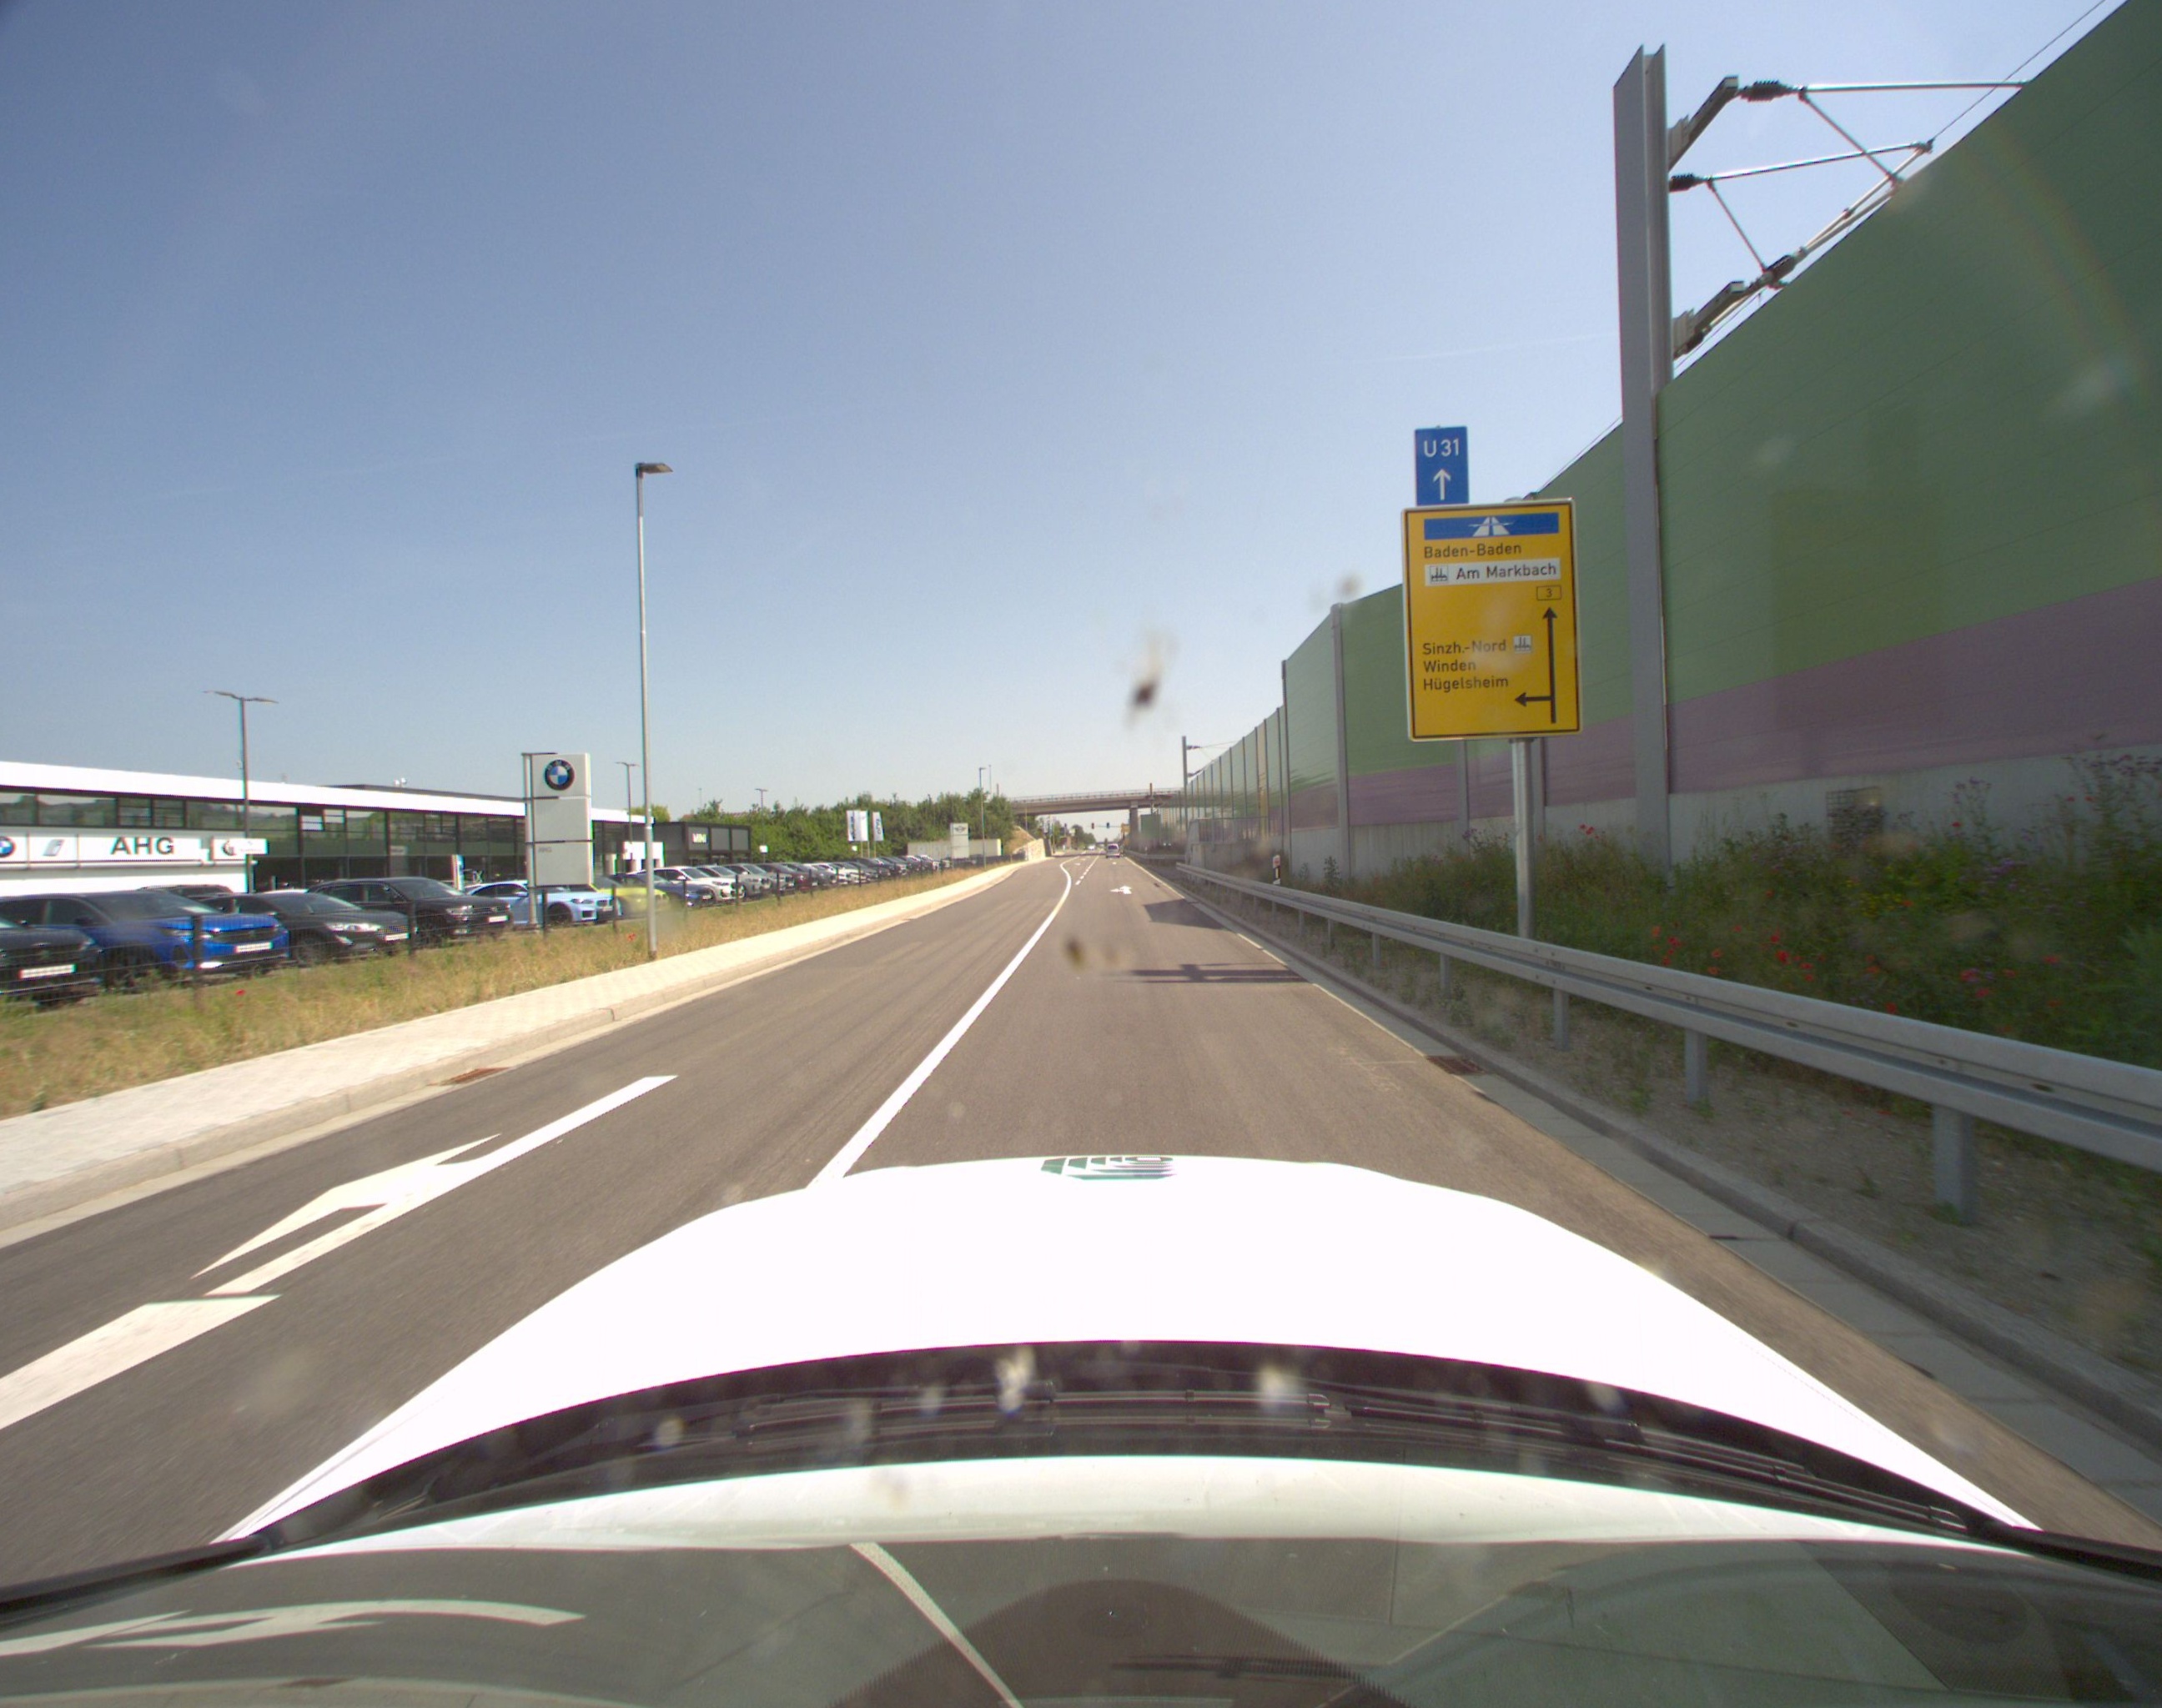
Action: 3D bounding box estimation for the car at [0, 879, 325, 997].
[{"bbox_3d":[-15.282,1.319,13.264,3.974,1.534,1.971,-3,1,0],"label":"car"}]

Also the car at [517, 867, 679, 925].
[{"bbox_3d":[-15.261,1.298,25.881,3.972,1.534,1.816,-3,1,2],"label":"car"}]

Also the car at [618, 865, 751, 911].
[{"bbox_3d":[-15.222,1.291,31.413,4.148,1.466,1.816,-3,1,2],"label":"car"}]

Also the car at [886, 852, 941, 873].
[{"bbox_3d":[-14.001,0.705,68.151,4.148,1.466,1.816,-3,1,2],"label":"car"}]

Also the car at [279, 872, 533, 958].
[{"bbox_3d":[-15.235,1.340,18.581,3.974,1.572,2.053,-3,1,0],"label":"car"}]

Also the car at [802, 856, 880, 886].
[{"bbox_3d":[-14.633,1.004,49.815,4.148,1.545,1.816,-3,1,2],"label":"car"}]

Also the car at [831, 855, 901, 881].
[{"bbox_3d":[-14.576,0.943,55.356,4.148,1.466,1.816,-3,1,2],"label":"car"}]

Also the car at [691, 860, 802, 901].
[{"bbox_3d":[-15.087,1.186,36.875,4.148,1.545,1.816,-3,1,2],"label":"car"}]

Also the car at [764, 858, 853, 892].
[{"bbox_3d":[-14.825,1.117,44.466,4.148,1.545,1.816,-3,1,2],"label":"car"}]

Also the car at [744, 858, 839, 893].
[{"bbox_3d":[-14.836,1.094,41.921,4.148,1.545,1.816,-3,1,2],"label":"car"}]

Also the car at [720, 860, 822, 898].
[{"bbox_3d":[-14.968,1.193,39.436,4.148,1.545,1.816,-3,1,2],"label":"car"}]

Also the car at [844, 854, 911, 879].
[{"bbox_3d":[-14.403,0.872,57.826,4.148,1.466,1.816,-3,1,2],"label":"car"}]

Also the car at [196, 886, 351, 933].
[{"bbox_3d":[-31.146,2.112,31.497,4.148,1.466,1.816,-3,1,2],"label":"car"}]

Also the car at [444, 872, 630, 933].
[{"bbox_3d":[-15.391,1.348,23.204,3.971,1.391,1.880,-3,1,2],"label":"car"}]

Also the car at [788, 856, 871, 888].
[{"bbox_3d":[-14.586,1.037,47.392,4.148,1.545,1.816,-3,1,2],"label":"car"}]

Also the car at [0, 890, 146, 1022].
[{"bbox_3d":[-15.380,1.396,10.697,3.974,1.534,1.815,-3,1,0],"label":"car"}]

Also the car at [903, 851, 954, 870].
[{"bbox_3d":[-13.809,0.601,73.870,4.148,1.466,1.816,-3,1,2],"label":"car"}]

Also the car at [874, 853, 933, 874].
[{"bbox_3d":[-14.189,0.739,65.188,4.148,1.466,1.816,-3,1,2],"label":"car"}]

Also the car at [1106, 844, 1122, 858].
[{"bbox_3d":[4.298,-0.399,105.690,1.985,1.757,4.004,-2,1,3],"label":"car"}]

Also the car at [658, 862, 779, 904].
[{"bbox_3d":[-15.165,1.203,34.189,4.148,1.466,1.816,-3,1,2],"label":"car"}]

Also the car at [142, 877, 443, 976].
[{"bbox_3d":[-15.179,1.354,15.854,3.974,1.534,1.815,-3,1,0],"label":"car"}]

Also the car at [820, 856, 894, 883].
[{"bbox_3d":[-14.515,1.018,52.903,4.148,1.466,1.816,-3,1,2],"label":"car"}]

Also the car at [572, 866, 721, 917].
[{"bbox_3d":[-15.198,1.299,28.625,4.148,1.466,1.816,-3,1,2],"label":"car"}]

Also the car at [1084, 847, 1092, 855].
[{"bbox_3d":[1.886,-0.779,215.921,1.986,1.926,4.002,-3,0,2],"label":"car"}]

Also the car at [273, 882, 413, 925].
[{"bbox_3d":[-30.837,2.053,34.099,4.148,1.466,1.816,-3,1,2],"label":"car"}]
